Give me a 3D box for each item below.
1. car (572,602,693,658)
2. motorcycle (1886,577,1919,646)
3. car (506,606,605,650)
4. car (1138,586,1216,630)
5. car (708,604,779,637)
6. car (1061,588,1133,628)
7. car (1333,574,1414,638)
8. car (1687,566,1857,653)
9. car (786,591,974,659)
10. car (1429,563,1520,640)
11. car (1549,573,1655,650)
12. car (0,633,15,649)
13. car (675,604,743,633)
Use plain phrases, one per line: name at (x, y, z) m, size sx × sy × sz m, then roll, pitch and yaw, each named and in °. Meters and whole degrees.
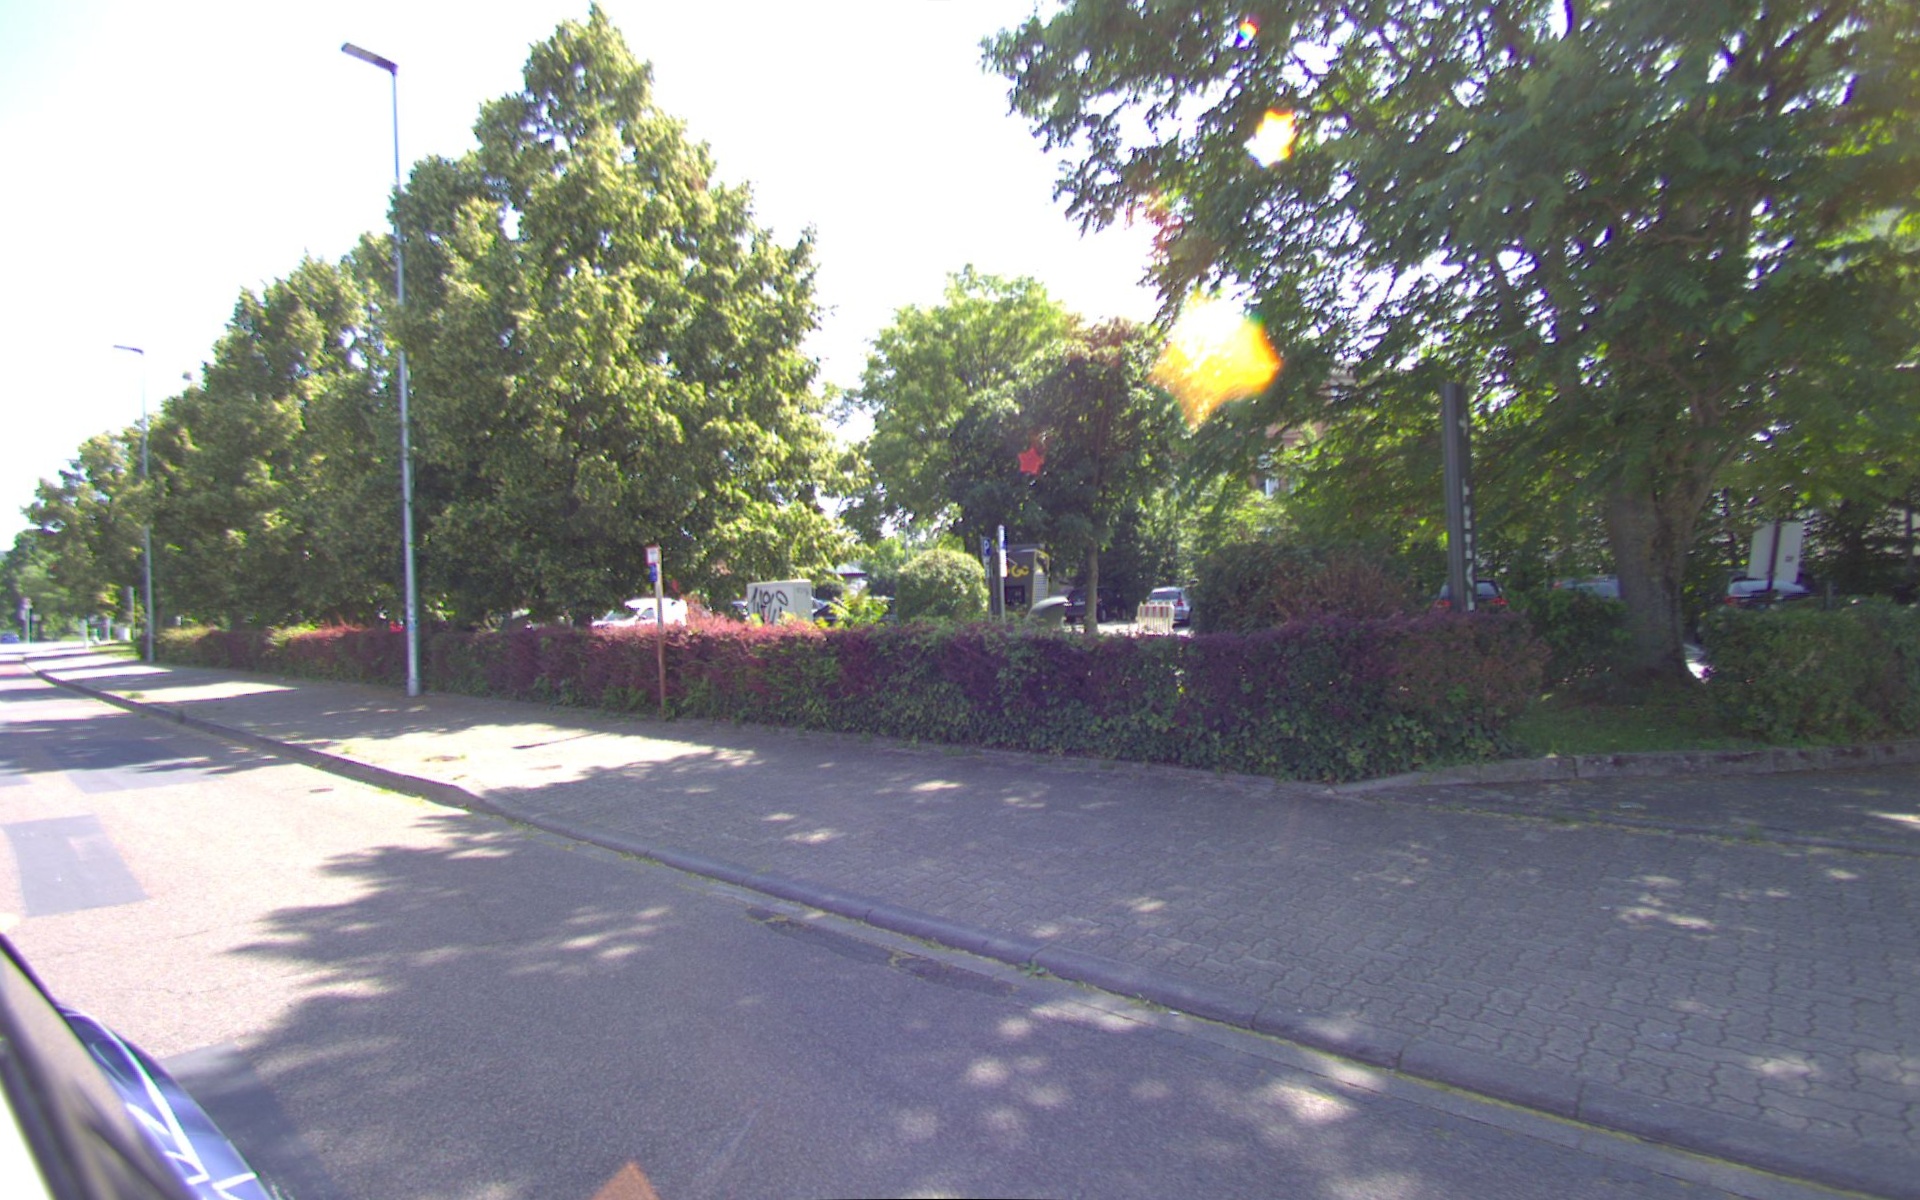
car at (-11.982, 1.055, 37.297) m, size 1.739 × 1.841 × 4.318 m, roll -3°, pitch -1°, yaw 24°
motorcycle at (16.258, 0.200, 16.602) m, size 0.564 × 1.124 × 2.173 m, roll -2°, pitch 1°, yaw 14°
car at (-18.783, 1.298, 47.031) m, size 4.199 × 1.812 × 1.747 m, roll -2°, pitch 0°, yaw 22°
car at (8.270, 0.267, 38.288) m, size 1.786 × 1.461 × 4.009 m, roll -2°, pitch 1°, yaw 28°
car at (-11.383, 1.075, 53.368) m, size 1.615 × 1.543 × 3.576 m, roll -2°, pitch 1°, yaw 30°
car at (6.157, 0.329, 45.167) m, size 1.813 × 1.588 × 3.830 m, roll -2°, pitch 1°, yaw 30°
car at (11.601, 0.125, 28.259) m, size 1.636 × 1.599 × 3.812 m, roll -2°, pitch 1°, yaw 28°
car at (14.742, 0.122, 18.600) m, size 1.763 × 1.398 × 4.054 m, roll -2°, pitch 1°, yaw 30°
car at (-2.170, 0.634, 26.318) m, size 5.032 × 1.572 × 2.045 m, roll -2°, pitch 0°, yaw 44°
car at (12.967, -0.005, 25.398) m, size 1.795 × 1.745 × 3.983 m, roll -2°, pitch 1°, yaw 30°
car at (13.248, 0.182, 21.074) m, size 1.621 × 1.405 × 4.030 m, roll -2°, pitch 1°, yaw 30°
car at (-96.964, 4.198, 102.532) m, size 3.683 × 1.547 × 1.588 m, roll -2°, pitch 0°, yaw 44°
car at (-15.463, 1.124, 62.476) m, size 3.934 × 1.606 × 1.932 m, roll -2°, pitch 0°, yaw -12°
